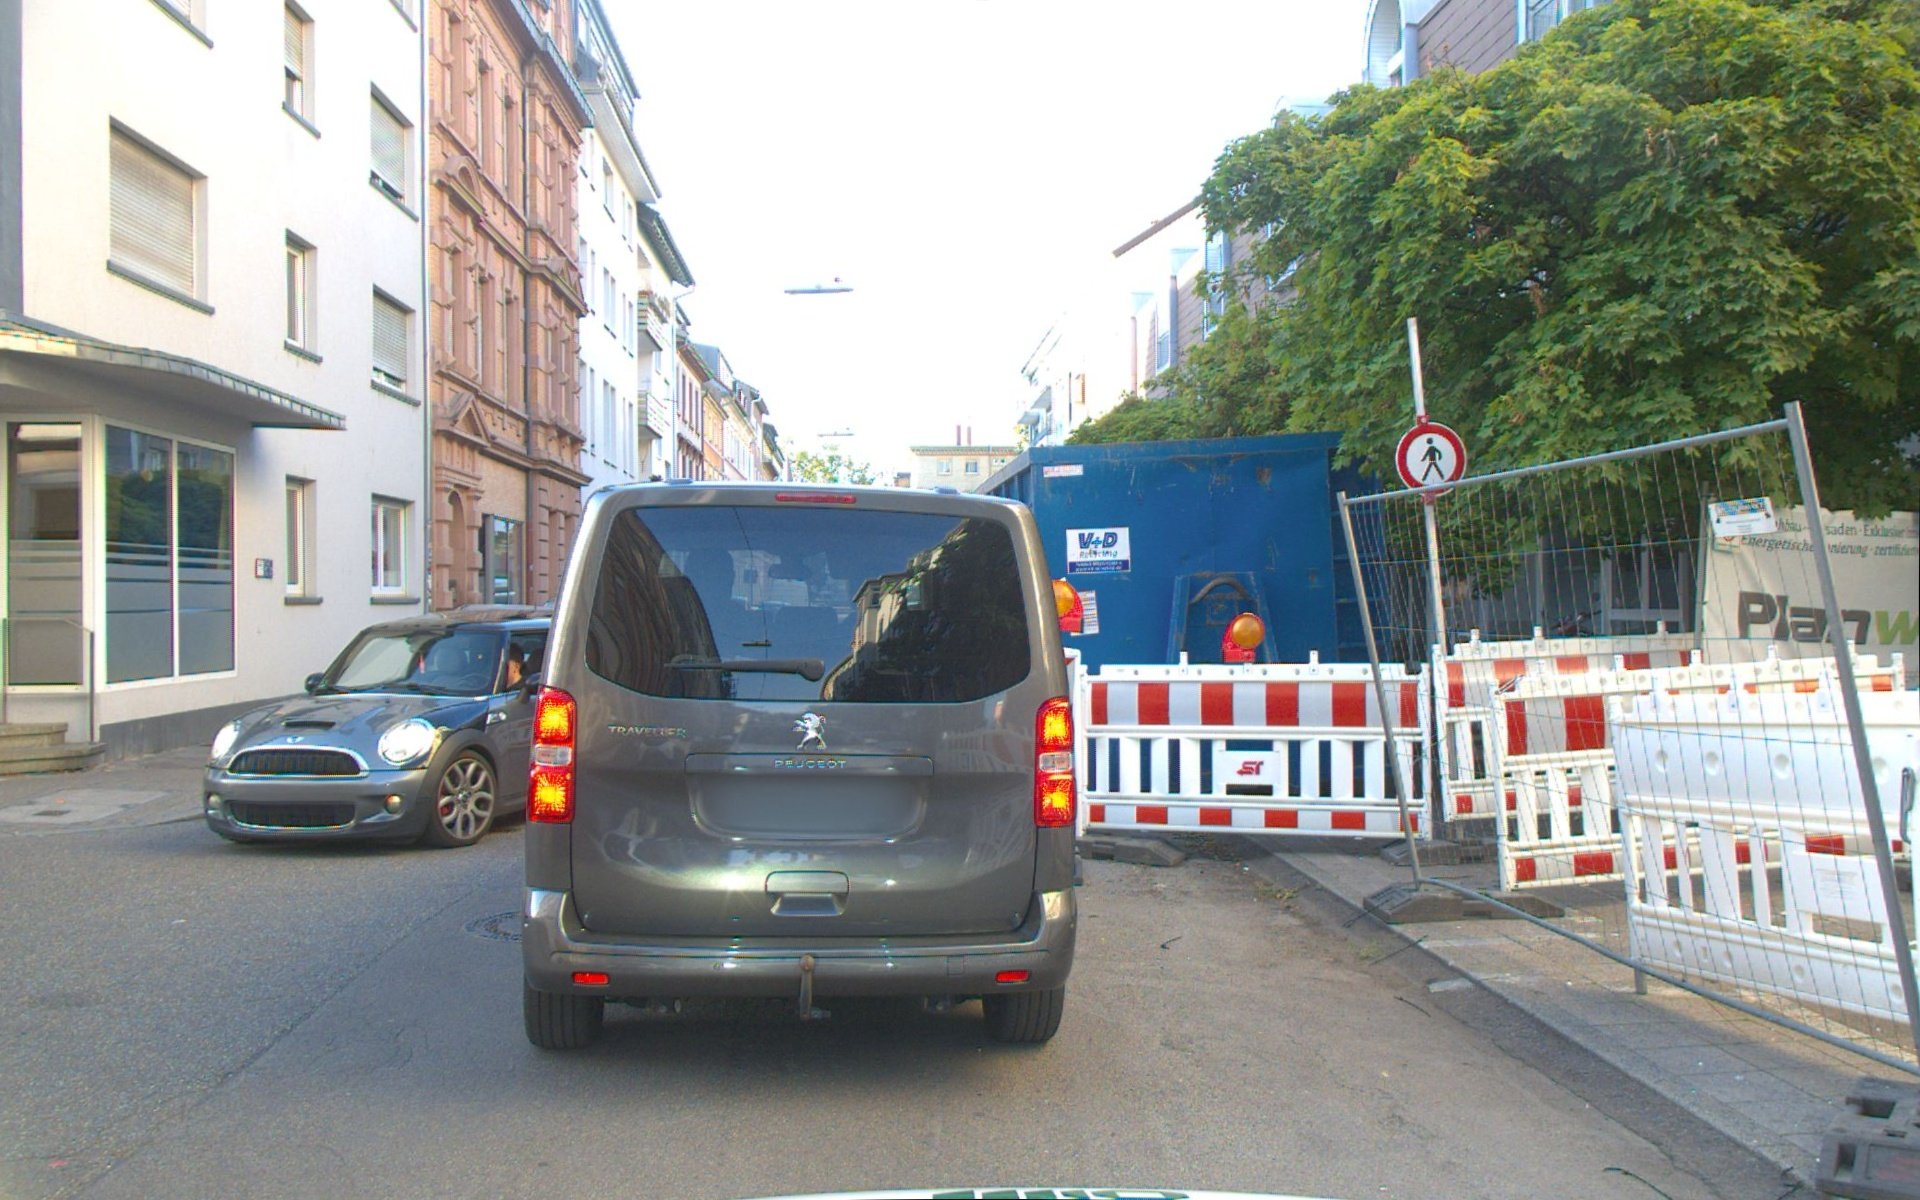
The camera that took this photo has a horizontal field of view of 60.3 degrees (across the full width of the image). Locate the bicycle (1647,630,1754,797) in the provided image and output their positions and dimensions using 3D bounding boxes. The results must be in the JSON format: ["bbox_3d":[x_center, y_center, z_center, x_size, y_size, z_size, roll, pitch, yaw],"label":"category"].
[{"bbox_3d":[5.218,0.764,11.713,0.555,1.088,1.366,1,0,19],"label":"bicycle"}]

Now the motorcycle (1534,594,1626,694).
[{"bbox_3d":[8.207,0.568,21.987,0.851,1.244,2.459,-1,-1,14],"label":"motorcycle"}]

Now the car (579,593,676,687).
[{"bbox_3d":[-6.119,0.710,30.669,1.368,1.616,2.791,-2,0,-4],"label":"car"}]

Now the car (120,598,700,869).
[{"bbox_3d":[-3.494,0.742,11.411,1.951,1.512,4.003,0,0,14],"label":"car"}]

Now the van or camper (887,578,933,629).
[{"bbox_3d":[-2.774,0.177,90.166,2.059,2.647,7.504,-1,0,-5],"label":"van or camper"}]

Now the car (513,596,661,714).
[{"bbox_3d":[-5.325,0.735,23.975,1.525,1.535,3.594,2,0,-4],"label":"car"}]

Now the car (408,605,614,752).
[{"bbox_3d":[-4.909,0.798,18.508,1.600,1.455,3.551,0,0,-5],"label":"car"}]

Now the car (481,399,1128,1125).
[{"bbox_3d":[-0.586,0.454,6.856,1.821,2.049,3.997,-2,0,-4],"label":"car"}]
